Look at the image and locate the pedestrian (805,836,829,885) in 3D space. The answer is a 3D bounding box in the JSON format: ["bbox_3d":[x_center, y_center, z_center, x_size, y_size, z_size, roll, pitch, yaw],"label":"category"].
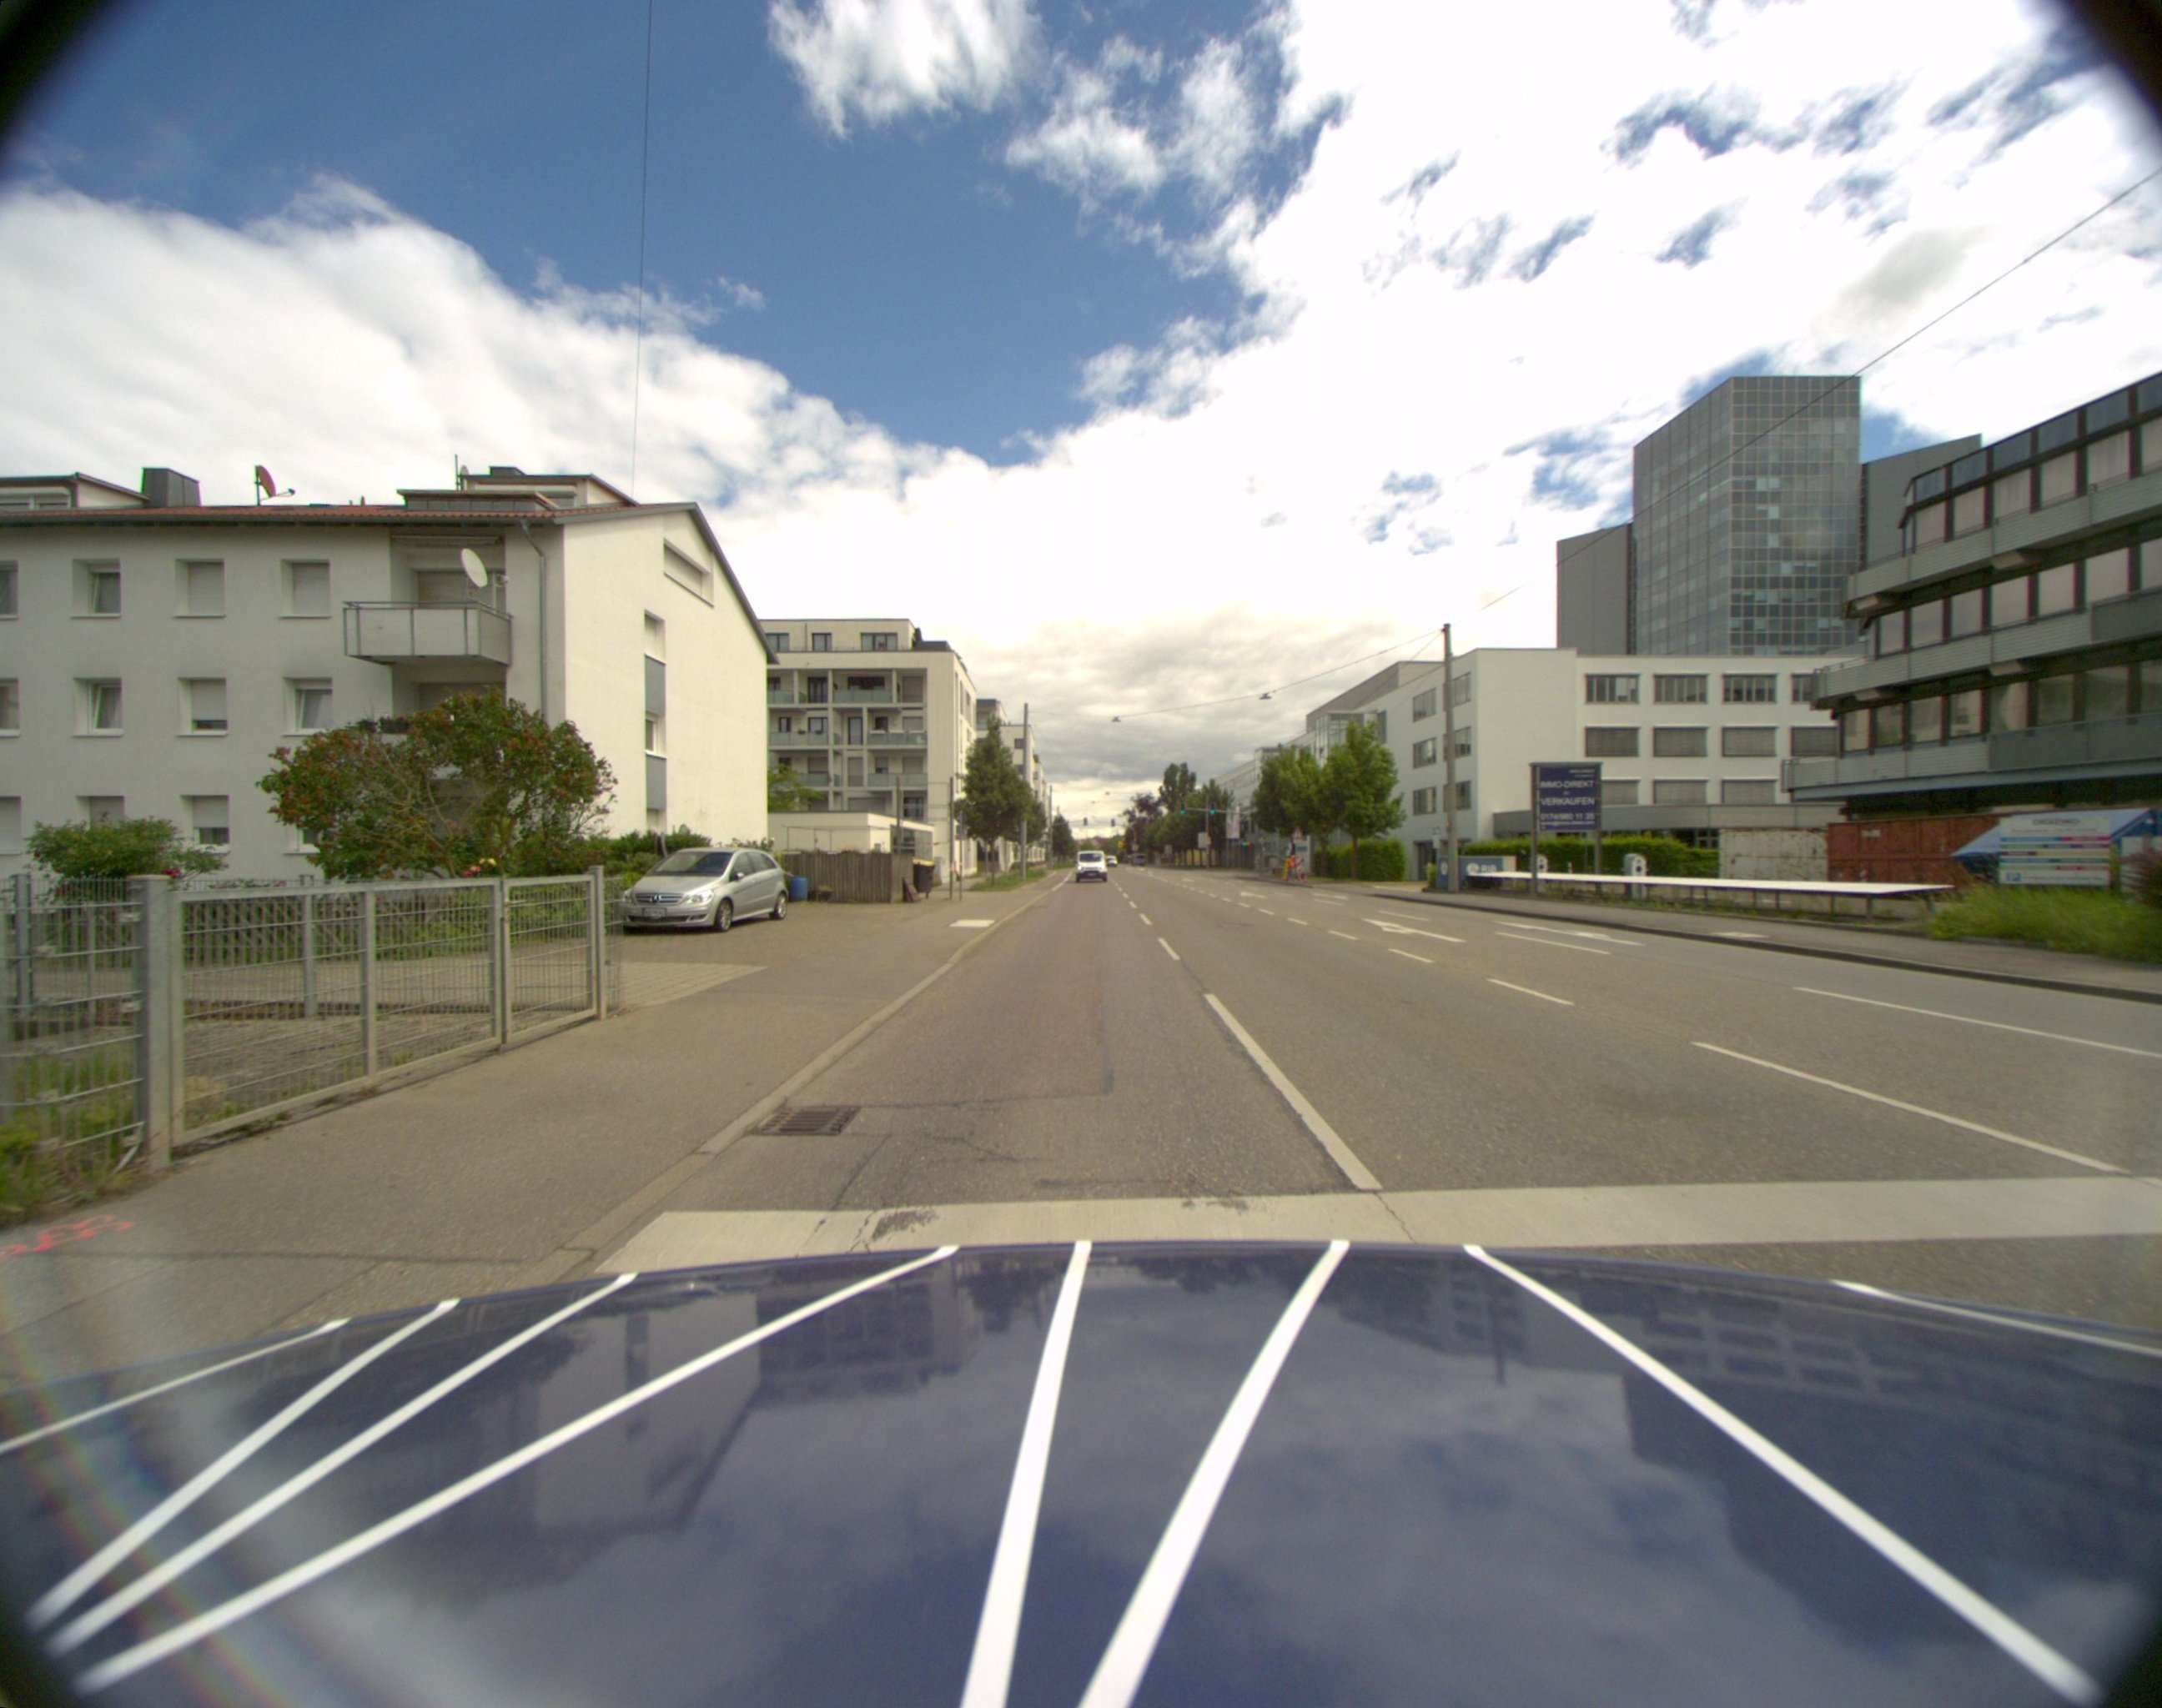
[{"bbox_3d":[-9.520,0.233,27.417,0.507,1.755,0.501,-2,2,17],"label":"pedestrian"}]

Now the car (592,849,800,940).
[{"bbox_3d":[-7.374,0.693,15.167,1.880,1.536,4.521,0,0,-1],"label":"car"}]

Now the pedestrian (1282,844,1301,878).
[{"bbox_3d":[12.875,0.423,46.457,0.724,2.002,0.812,-1,2,43],"label":"pedestrian"}]

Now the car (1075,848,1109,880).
[{"bbox_3d":[0.659,0.634,49.223,1.999,1.905,3.999,-1,1,-2],"label":"car"}]

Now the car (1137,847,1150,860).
[{"bbox_3d":[12.188,-0.048,149.196,2.148,2.457,6.073,1,0,1],"label":"car"}]

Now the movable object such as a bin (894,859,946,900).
[{"bbox_3d":[-5.682,0.885,26.919,1.320,1.353,1.252,0,2,17],"label":"movable object such as a bin"}]
